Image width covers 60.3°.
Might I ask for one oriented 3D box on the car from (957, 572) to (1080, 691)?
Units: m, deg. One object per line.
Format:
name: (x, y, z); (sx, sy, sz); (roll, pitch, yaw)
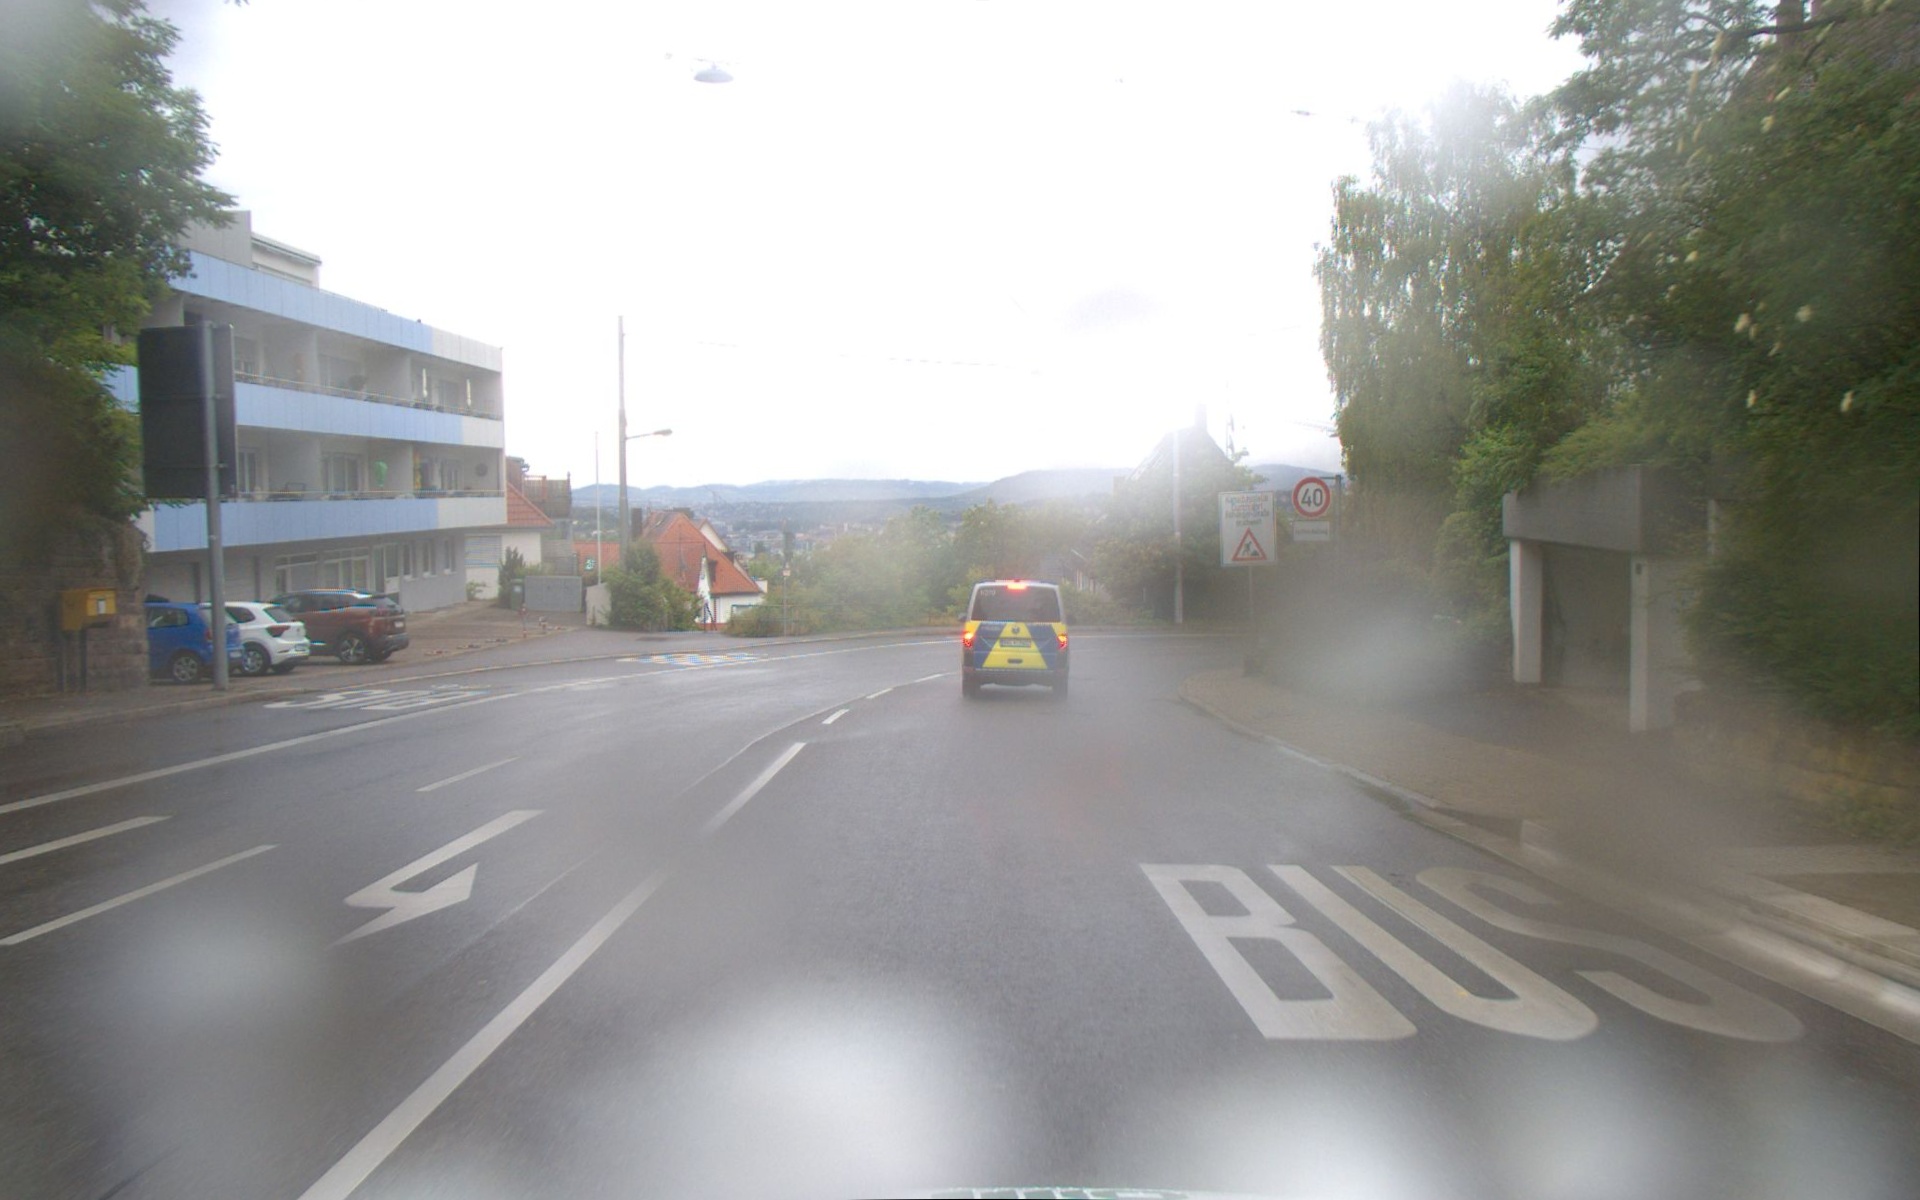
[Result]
car: (0.963, 0.507, 29.537); (1.953, 1.926, 4.569); (1, 0, -1)

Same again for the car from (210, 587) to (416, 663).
car: (-14.247, 0.530, 36.580); (3.844, 1.577, 1.715); (1, 0, -3)

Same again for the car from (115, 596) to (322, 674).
car: (-14.861, 0.685, 33.261); (3.360, 1.470, 1.708); (1, 0, 0)

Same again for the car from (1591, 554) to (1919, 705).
car: (10.160, 0.332, 20.603); (3.903, 1.656, 1.801); (1, 4, 4)

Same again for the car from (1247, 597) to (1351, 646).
car: (10.796, 0.659, 52.496); (1.759, 1.471, 4.091); (1, 0, 35)

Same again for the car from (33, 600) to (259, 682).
car: (-15.049, 0.742, 30.721); (3.363, 1.414, 1.636); (-1, 1, -5)
